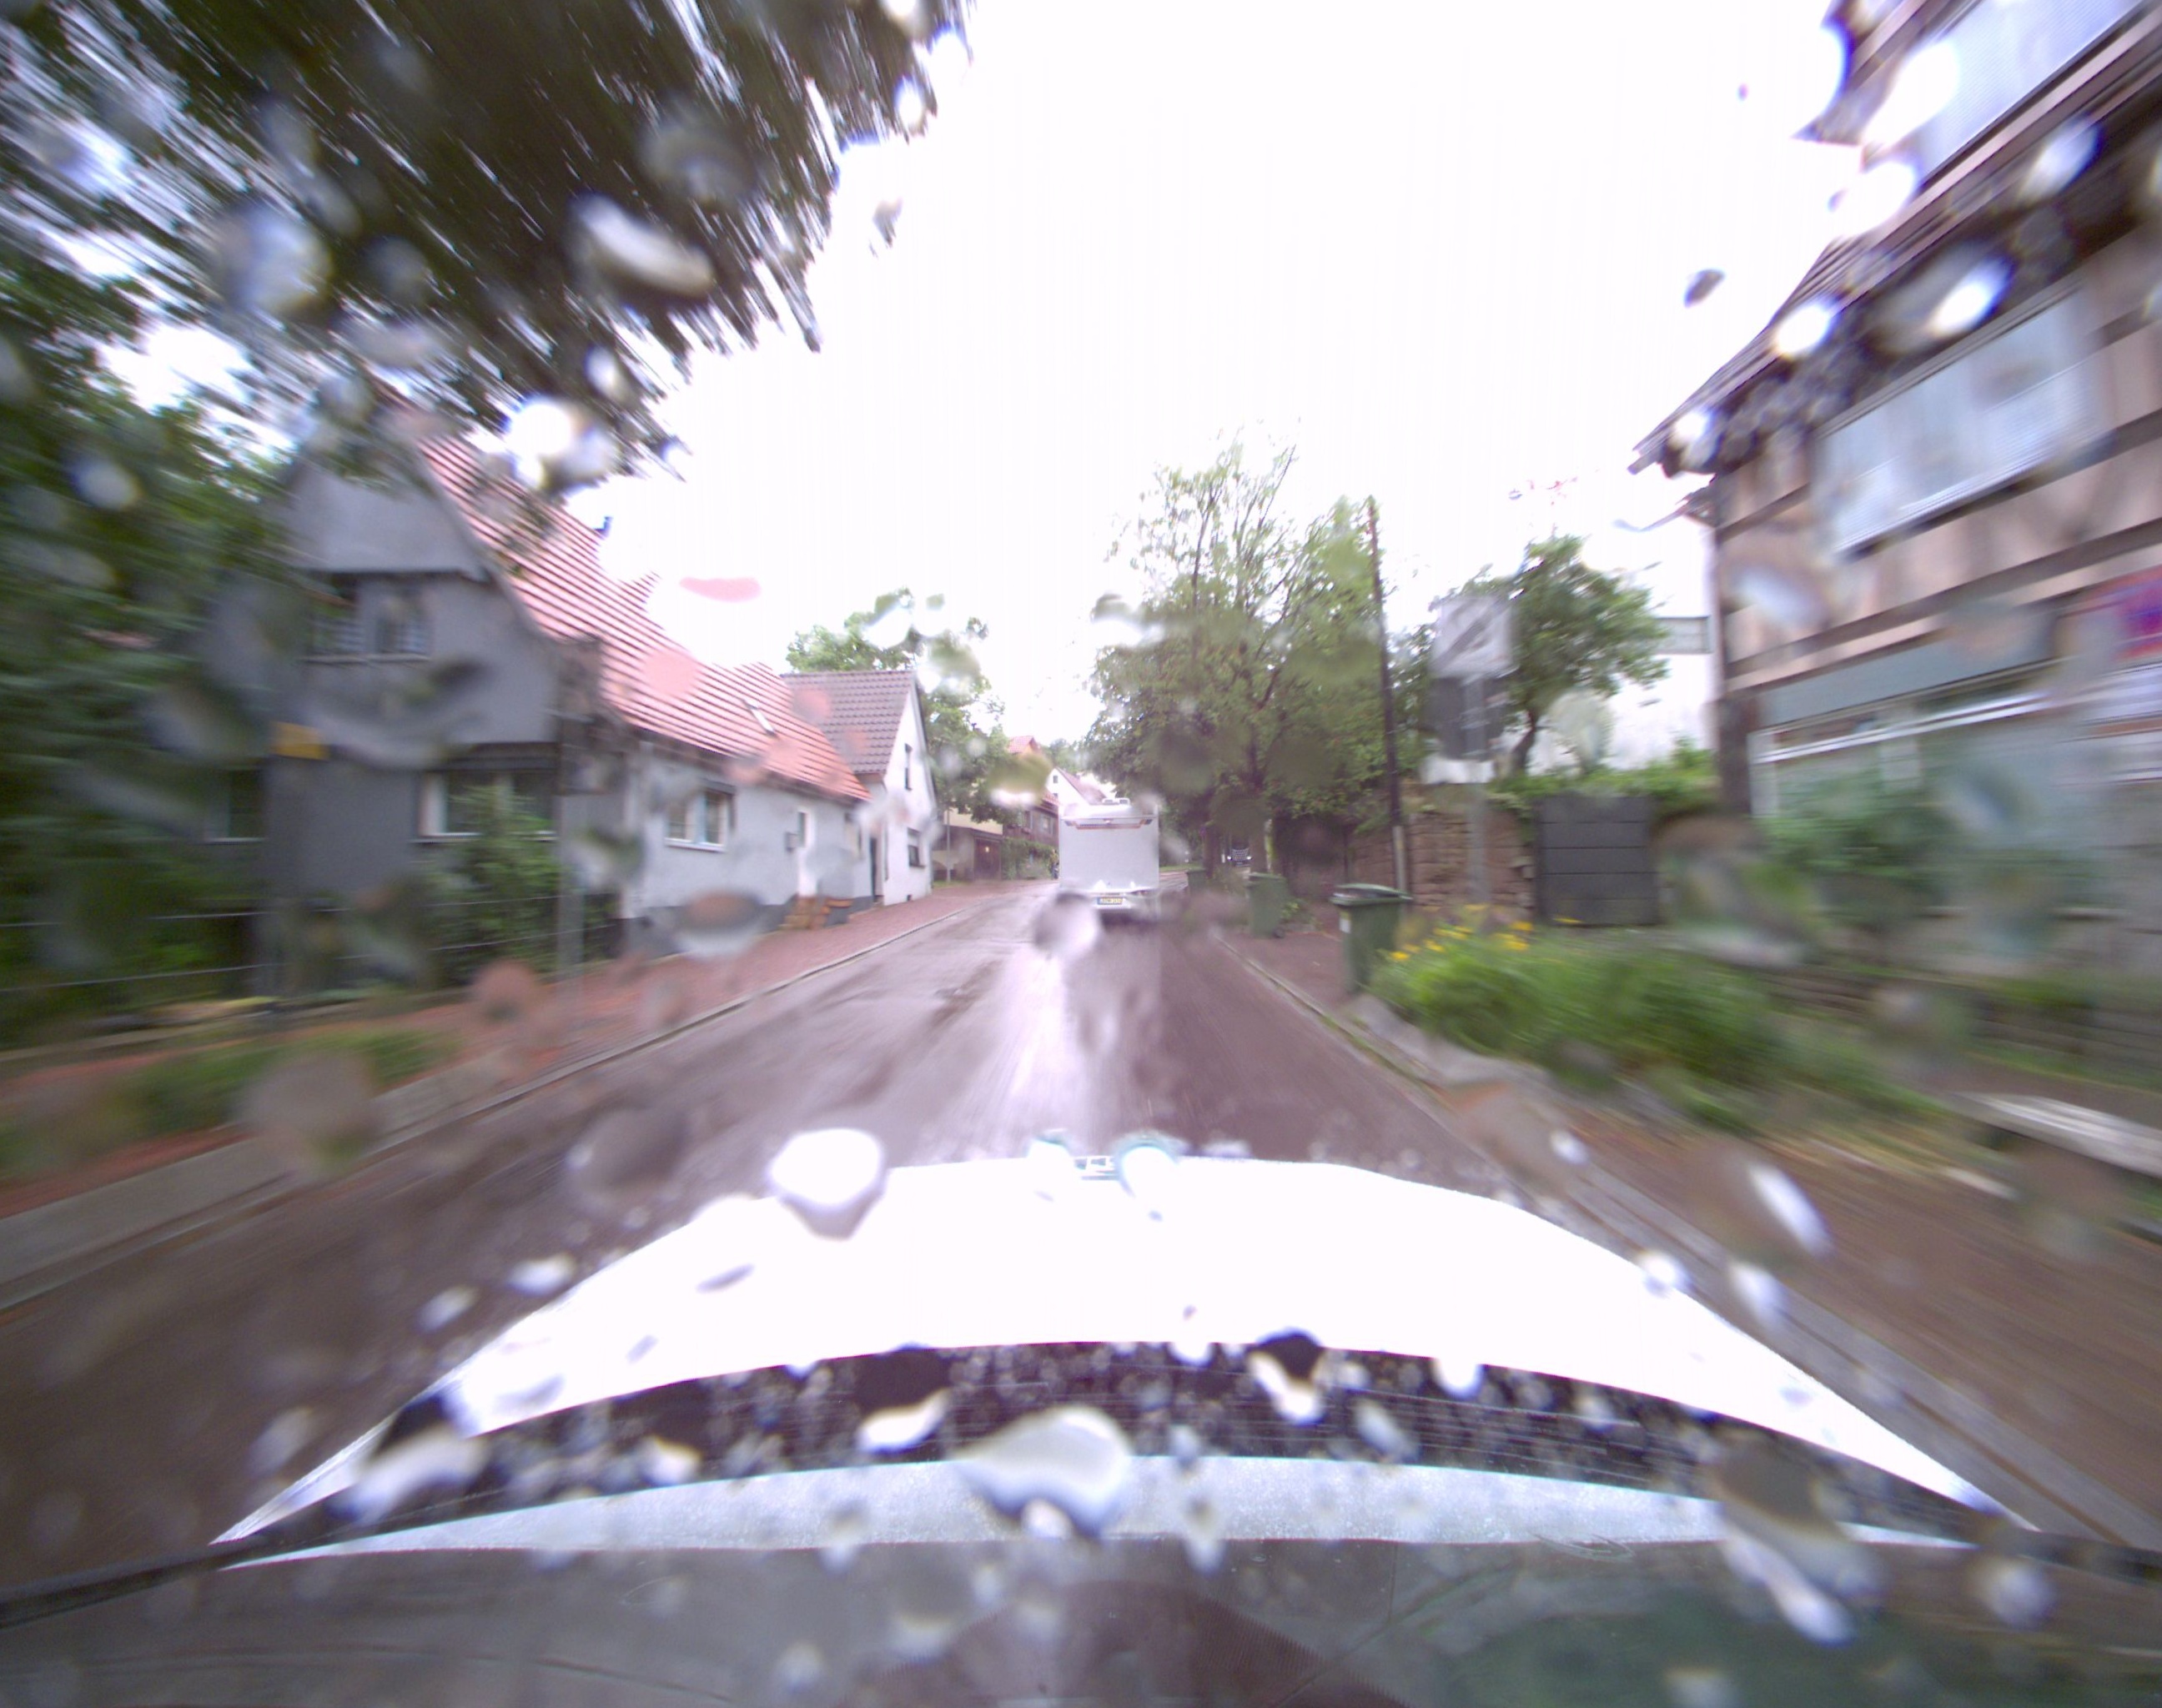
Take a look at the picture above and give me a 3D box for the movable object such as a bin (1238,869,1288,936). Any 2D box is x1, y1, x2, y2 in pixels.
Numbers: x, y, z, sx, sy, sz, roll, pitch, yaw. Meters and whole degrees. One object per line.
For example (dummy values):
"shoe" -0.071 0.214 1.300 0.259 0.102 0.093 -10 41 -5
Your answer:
"movable object such as a bin" 3.231 0.855 14.500 0.721 1.143 0.703 -1 -1 -1

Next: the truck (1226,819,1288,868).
"truck" 16.039 -0.893 73.592 2.811 4.166 10.037 -1 0 28

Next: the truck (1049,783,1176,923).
"truck" 0.758 -0.026 20.716 2.685 2.986 6.238 -1 0 1

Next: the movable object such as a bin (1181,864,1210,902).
"movable object such as a bin" 3.511 0.881 25.022 0.766 1.107 0.885 -3 -1 2

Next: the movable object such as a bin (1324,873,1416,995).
"movable object such as a bin" 3.055 0.825 8.658 0.718 1.213 0.727 -1 -1 2

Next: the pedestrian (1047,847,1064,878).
"pedestrian" -1.534 0.516 50.031 0.788 1.868 0.920 -1 -1 14
